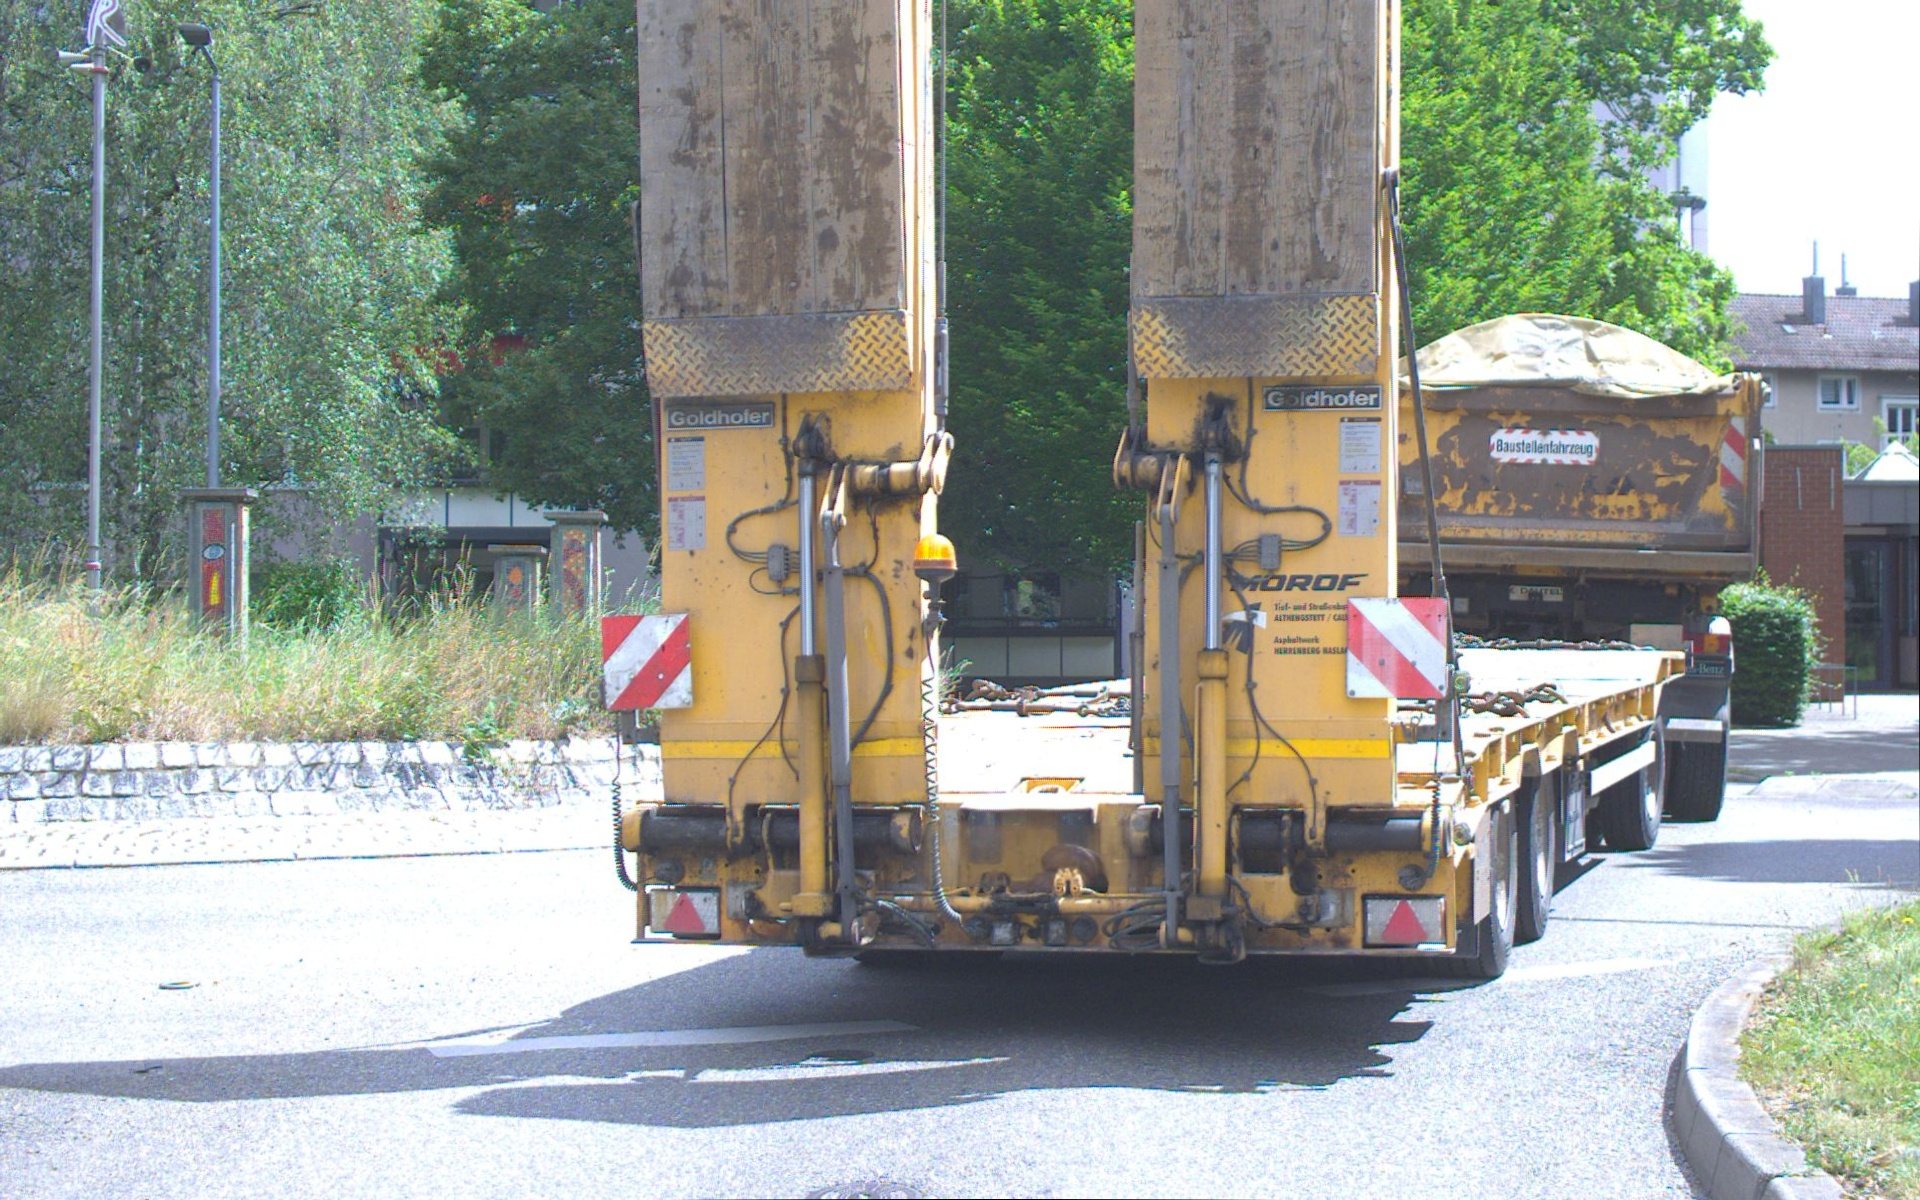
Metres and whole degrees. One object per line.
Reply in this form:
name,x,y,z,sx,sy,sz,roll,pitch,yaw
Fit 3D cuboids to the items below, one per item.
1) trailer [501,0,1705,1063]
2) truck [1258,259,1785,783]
trailer,1.473,-0.457,15.066,2.866,3.361,10.833,1,1,15
truck,4.095,-0.554,24.392,2.989,3.024,8.482,1,1,11
